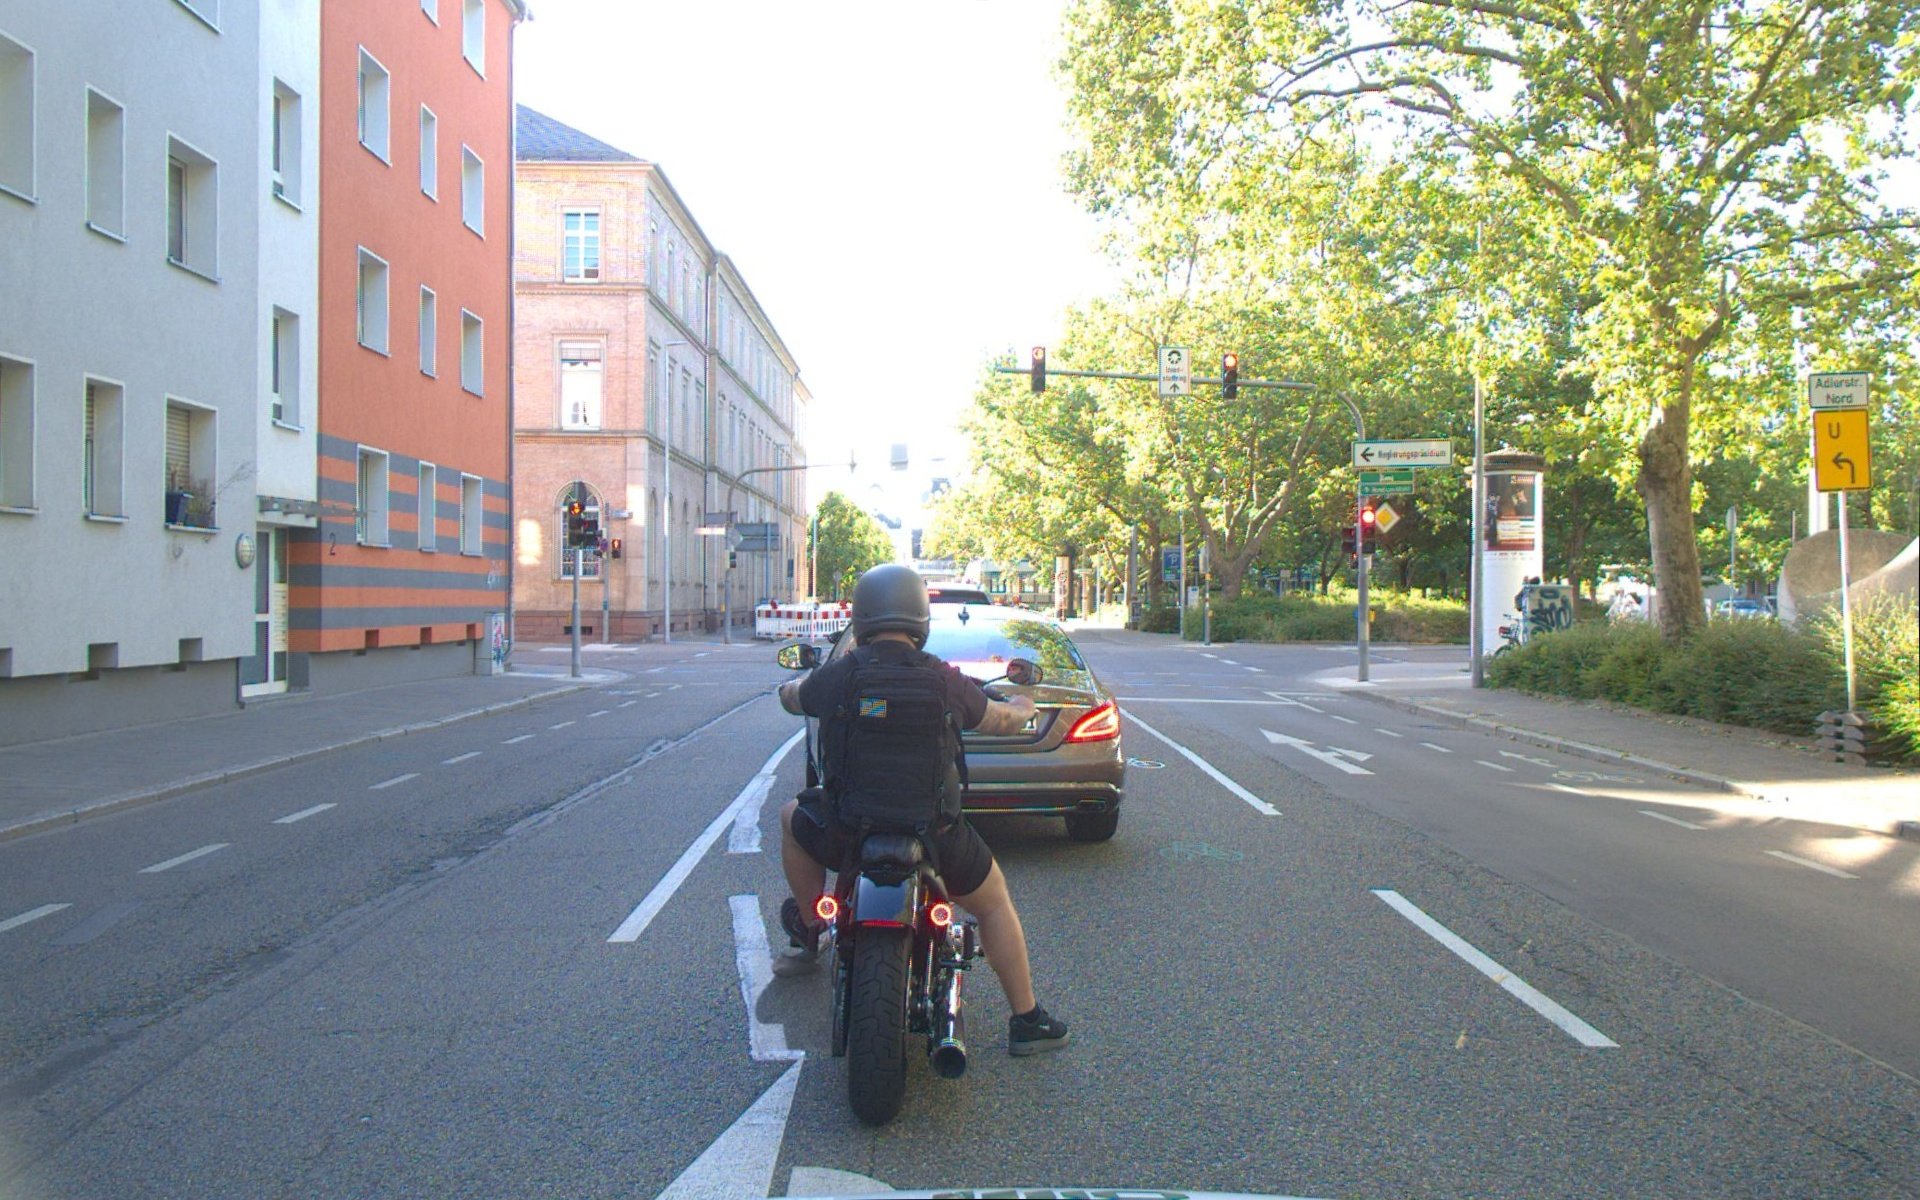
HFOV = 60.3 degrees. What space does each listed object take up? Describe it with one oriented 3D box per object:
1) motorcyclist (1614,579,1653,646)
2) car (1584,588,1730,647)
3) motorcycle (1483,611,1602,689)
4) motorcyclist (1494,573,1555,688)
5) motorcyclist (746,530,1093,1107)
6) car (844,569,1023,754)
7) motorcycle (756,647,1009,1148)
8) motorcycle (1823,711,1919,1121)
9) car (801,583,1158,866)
[{"bbox_3d":[19.458,0.365,47.793,0.962,1.909,0.376,0,-1,3],"label":"motorcyclist"},{"bbox_3d":[21.992,0.535,52.276,3.907,1.803,1.737,0,0,-3],"label":"car"},{"bbox_3d":[9.777,0.836,27.805,1.743,1.265,0.723,1,0,4],"label":"motorcycle"},{"bbox_3d":[9.485,0.504,27.816,0.805,1.896,0.672,1,-1,4],"label":"motorcyclist"},{"bbox_3d":[-0.123,0.631,5.308,0.970,1.639,1.120,1,0,-1],"label":"motorcyclist"},{"bbox_3d":[-0.268,0.574,17.195,1.618,1.681,3.999,1,0,-1],"label":"car"},{"bbox_3d":[-0.219,0.816,5.398,0.646,1.261,2.057,1,0,-1],"label":"motorcycle"},{"bbox_3d":[3.184,0.935,4.204,0.781,1.151,2.236,1,0,-1],"label":"motorcycle"},{"bbox_3d":[-0.085,0.685,11.108,1.790,1.512,4.326,1,0,-7],"label":"car"}]
